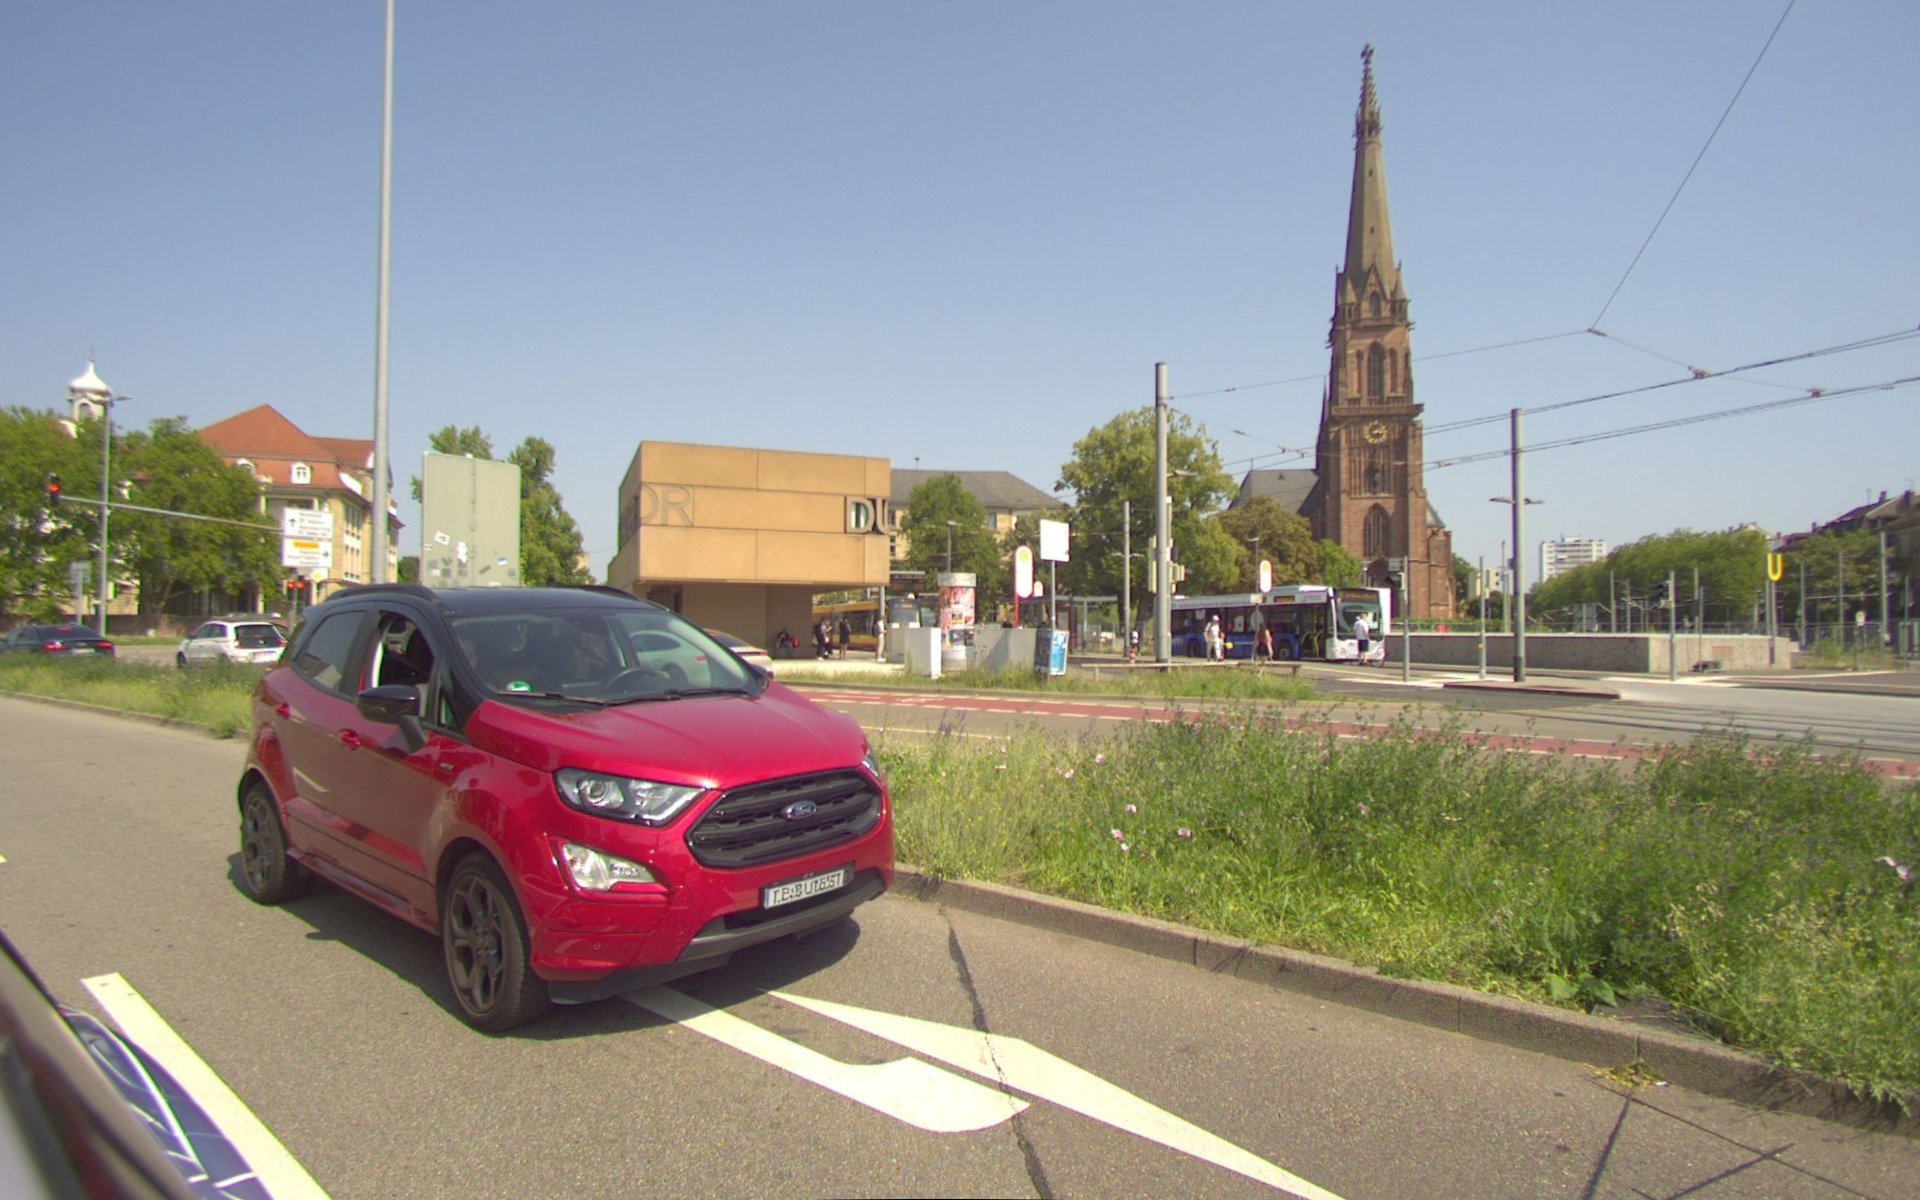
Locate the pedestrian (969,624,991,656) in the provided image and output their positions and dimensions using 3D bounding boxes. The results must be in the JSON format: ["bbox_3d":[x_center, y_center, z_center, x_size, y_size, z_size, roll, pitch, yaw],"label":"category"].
[{"bbox_3d":[1.136,2.263,57.331,0.913,1.837,0.940,1,-2,-22],"label":"pedestrian"}]

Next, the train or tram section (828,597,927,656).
[{"bbox_3d":[-5.677,1.800,66.252,2.658,3.465,13.464,1,-2,-22],"label":"train or tram section"}]

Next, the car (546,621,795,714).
[{"bbox_3d":[-5.614,1.223,19.459,4.700,1.597,1.978,-1,-2,32],"label":"car"}]

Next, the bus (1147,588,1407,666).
[{"bbox_3d":[12.556,1.156,42.198,3.346,2.733,12.382,1,-2,-21],"label":"bus"}]

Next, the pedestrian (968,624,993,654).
[{"bbox_3d":[1.151,2.206,57.144,1.060,1.709,1.068,1,-2,-22],"label":"pedestrian"}]

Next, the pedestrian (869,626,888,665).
[{"bbox_3d":[-3.165,1.761,39.328,0.541,1.508,0.532,-1,-3,39],"label":"pedestrian"}]

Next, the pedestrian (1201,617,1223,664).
[{"bbox_3d":[9.345,1.483,37.586,0.527,1.724,0.695,0,-2,-12],"label":"pedestrian"}]

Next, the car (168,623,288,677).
[{"bbox_3d":[-21.429,1.438,29.616,3.462,1.490,1.512,-1,-2,29],"label":"car"}]

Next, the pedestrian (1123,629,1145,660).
[{"bbox_3d":[9.772,2.507,56.956,0.832,1.709,0.961,1,-2,-22],"label":"pedestrian"}]

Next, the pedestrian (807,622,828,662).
[{"bbox_3d":[-5.414,1.595,38.437,0.541,1.508,0.532,-1,-3,39],"label":"pedestrian"}]

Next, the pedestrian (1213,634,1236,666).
[{"bbox_3d":[9.899,1.870,37.908,0.627,1.134,0.603,-1,0,-13],"label":"pedestrian"}]

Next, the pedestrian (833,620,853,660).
[{"bbox_3d":[-4.559,1.552,39.337,0.541,1.508,0.532,-1,-3,39],"label":"pedestrian"}]

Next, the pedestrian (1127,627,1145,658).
[{"bbox_3d":[9.891,2.407,56.973,0.766,1.720,0.699,-1,-2,34],"label":"pedestrian"}]

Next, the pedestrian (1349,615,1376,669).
[{"bbox_3d":[13.880,1.426,34.887,0.592,1.825,0.640,-1,0,-35],"label":"pedestrian"}]

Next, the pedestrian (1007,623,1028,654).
[{"bbox_3d":[3.396,2.267,59.716,0.913,1.837,0.940,1,-2,-22],"label":"pedestrian"}]

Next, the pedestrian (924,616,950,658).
[{"bbox_3d":[-0.830,1.340,36.590,0.605,1.508,0.761,-1,-3,39],"label":"pedestrian"}]

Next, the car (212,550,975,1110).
[{"bbox_3d":[-1.951,0.692,4.779,3.841,1.598,1.673,-2,-1,39],"label":"car"}]

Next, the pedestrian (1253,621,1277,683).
[{"bbox_3d":[9.013,1.530,29.956,0.632,1.825,0.599,-1,0,15],"label":"pedestrian"}]

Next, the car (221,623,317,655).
[{"bbox_3d":[-37.590,2.112,55.128,1.789,1.630,3.968,-1,-2,24],"label":"car"}]

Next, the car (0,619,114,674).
[{"bbox_3d":[-25.070,1.255,27.997,3.465,1.437,1.510,-1,-2,32],"label":"car"}]

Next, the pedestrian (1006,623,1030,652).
[{"bbox_3d":[3.405,2.188,59.650,1.060,1.709,1.068,1,-2,-22],"label":"pedestrian"}]

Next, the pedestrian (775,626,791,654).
[{"bbox_3d":[-6.989,1.579,40.007,0.530,1.108,0.543,1,-2,-18],"label":"pedestrian"}]

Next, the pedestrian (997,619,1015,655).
[{"bbox_3d":[2.397,1.938,53.199,0.792,1.837,0.535,1,-2,-22],"label":"pedestrian"}]

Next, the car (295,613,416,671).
[{"bbox_3d":[-20.784,1.409,34.777,3.898,1.868,1.851,0,-2,29],"label":"car"}]
